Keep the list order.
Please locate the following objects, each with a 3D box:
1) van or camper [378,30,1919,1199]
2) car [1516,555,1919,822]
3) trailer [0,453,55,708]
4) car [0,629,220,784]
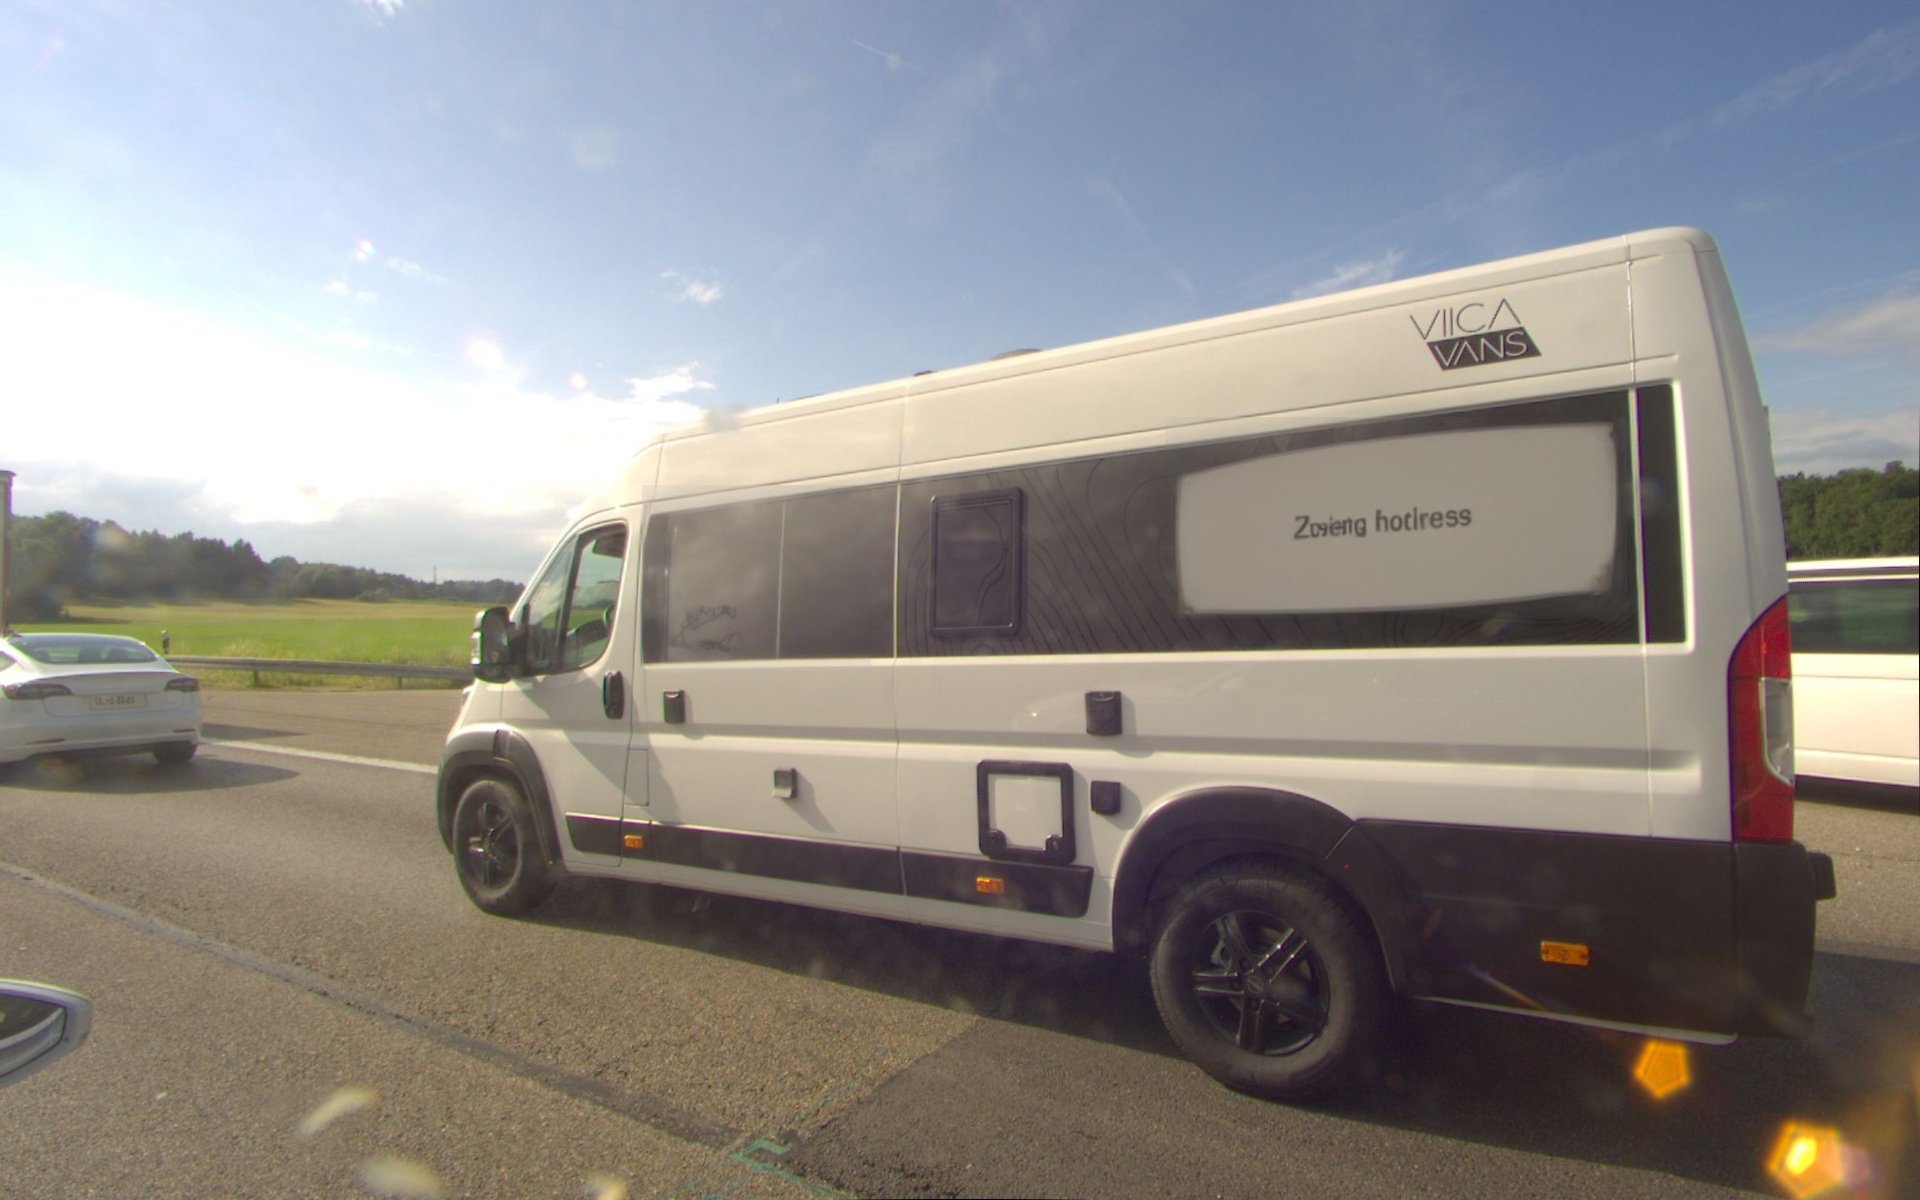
[{"bbox_3d":[0.027,0.179,4.792,6.241,2.716,2.211,-1,-1,32],"label":"van or camper"},{"bbox_3d":[7.588,0.676,8.091,1.776,1.949,5.239,1,-2,-31],"label":"car"},{"bbox_3d":[-21.285,-0.129,18.785,13.181,4.061,3.125,-2,-2,33],"label":"trailer"},{"bbox_3d":[-10.270,1.033,11.133,4.372,1.412,1.786,-1,-1,31],"label":"car"}]
